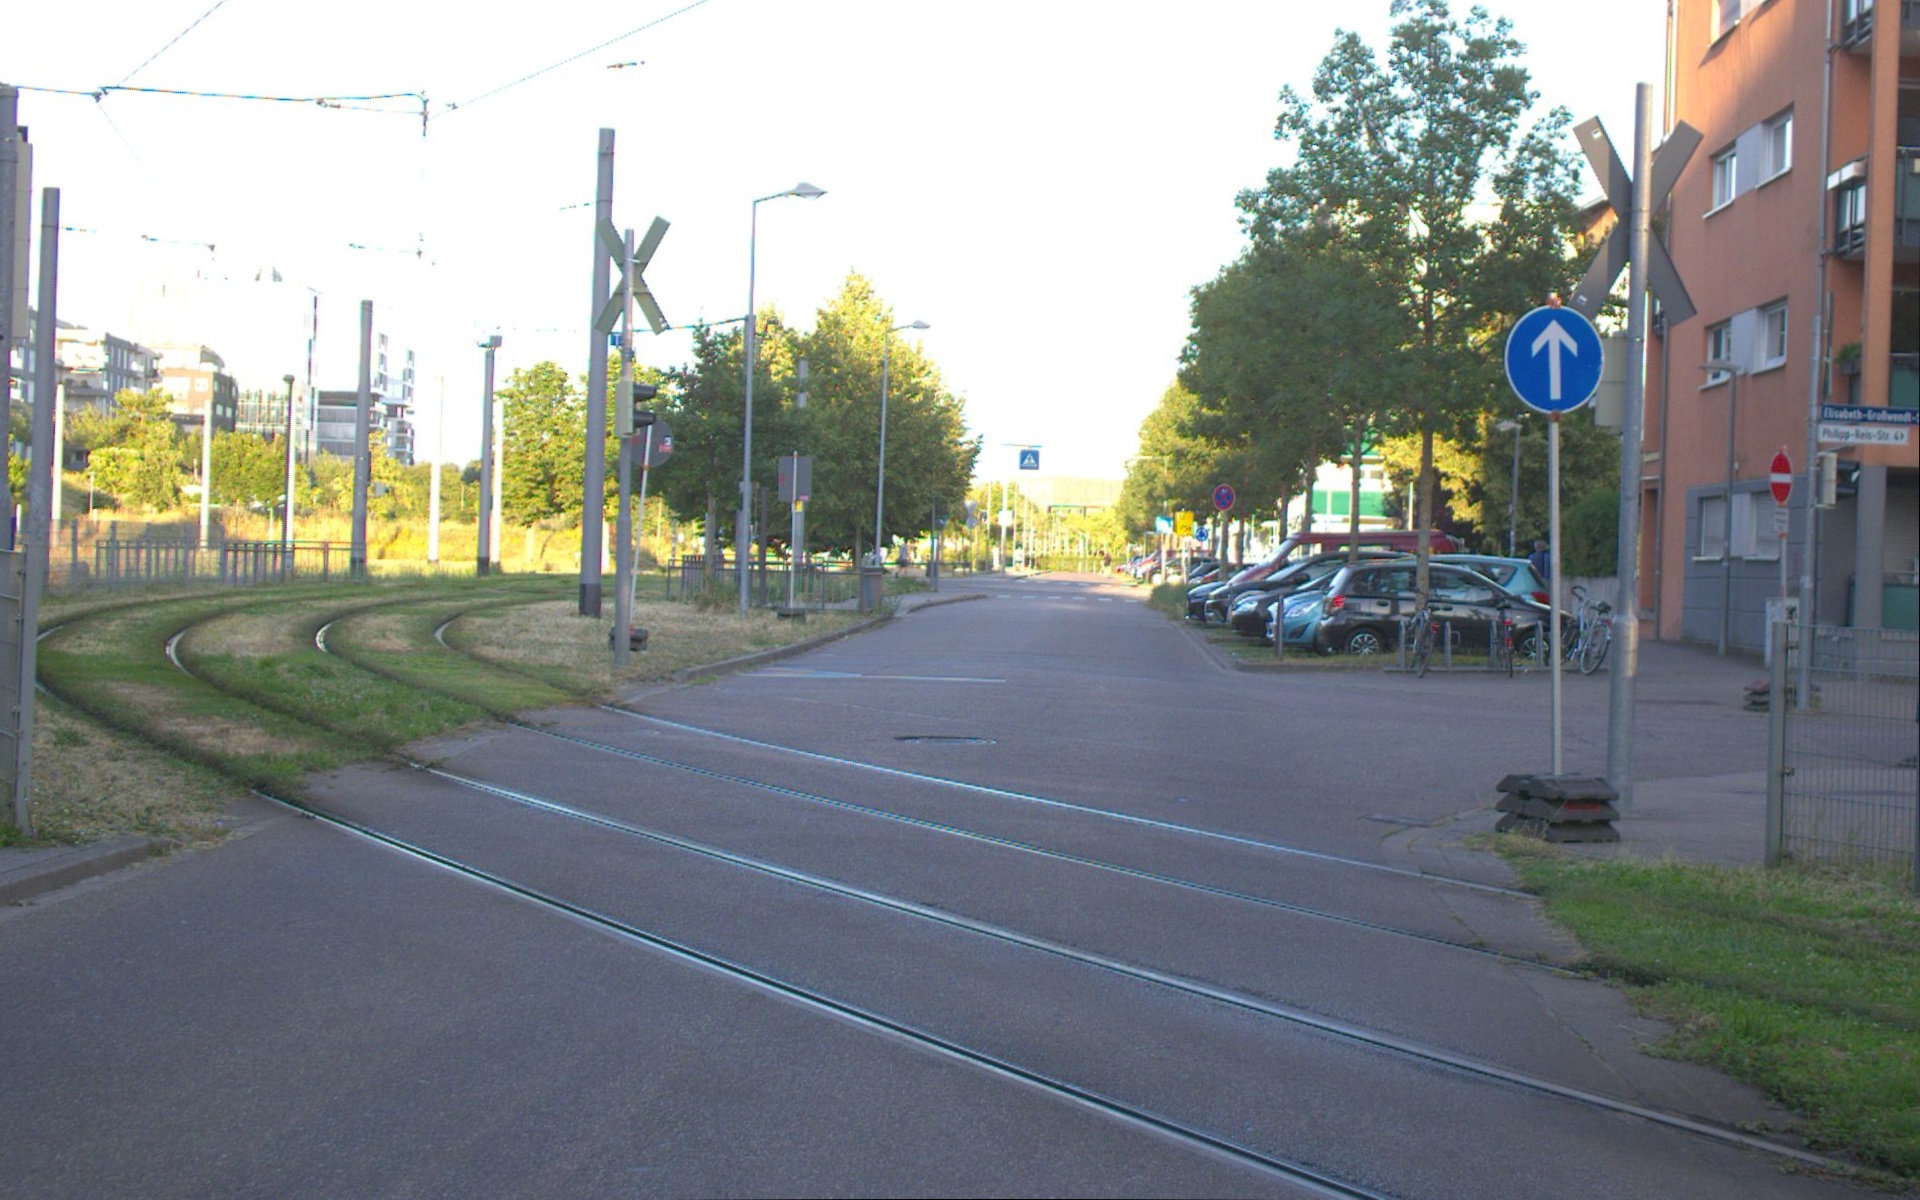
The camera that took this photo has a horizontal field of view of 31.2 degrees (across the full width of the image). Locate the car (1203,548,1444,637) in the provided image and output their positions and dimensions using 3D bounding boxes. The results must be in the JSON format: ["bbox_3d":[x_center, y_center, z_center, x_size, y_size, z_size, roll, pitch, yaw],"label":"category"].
[{"bbox_3d":[6.519,-0.152,61.995,4.216,1.563,1.792,0,1,3],"label":"car"}]

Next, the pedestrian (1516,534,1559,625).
[{"bbox_3d":[11.334,-0.406,67.481,0.668,1.737,0.699,2,1,2],"label":"pedestrian"}]

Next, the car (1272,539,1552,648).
[{"bbox_3d":[6.808,-0.117,52.050,4.050,1.563,1.673,1,1,3],"label":"car"}]

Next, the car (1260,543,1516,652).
[{"bbox_3d":[6.795,-0.056,54.836,3.877,1.563,1.620,2,1,3],"label":"car"}]

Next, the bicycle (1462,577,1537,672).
[{"bbox_3d":[7.070,0.307,45.091,0.679,1.148,1.928,0,2,0],"label":"bicycle"}]

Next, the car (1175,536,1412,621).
[{"bbox_3d":[6.813,-0.448,70.593,4.669,1.551,1.811,2,1,2],"label":"car"}]

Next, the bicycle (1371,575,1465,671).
[{"bbox_3d":[6.012,0.291,45.197,0.716,1.148,1.899,0,3,-8],"label":"bicycle"}]

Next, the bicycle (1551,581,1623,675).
[{"bbox_3d":[8.289,0.358,45.509,0.529,1.123,1.963,4,2,0],"label":"bicycle"}]

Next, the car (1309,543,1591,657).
[{"bbox_3d":[7.042,-0.010,49.648,3.749,1.468,1.613,2,1,-2],"label":"car"}]

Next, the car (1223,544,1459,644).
[{"bbox_3d":[6.338,-0.090,57.465,3.774,1.490,1.539,2,-1,2],"label":"car"}]

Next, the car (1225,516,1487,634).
[{"bbox_3d":[7.702,-0.499,67.247,4.920,2.110,2.017,2,1,4],"label":"car"}]
